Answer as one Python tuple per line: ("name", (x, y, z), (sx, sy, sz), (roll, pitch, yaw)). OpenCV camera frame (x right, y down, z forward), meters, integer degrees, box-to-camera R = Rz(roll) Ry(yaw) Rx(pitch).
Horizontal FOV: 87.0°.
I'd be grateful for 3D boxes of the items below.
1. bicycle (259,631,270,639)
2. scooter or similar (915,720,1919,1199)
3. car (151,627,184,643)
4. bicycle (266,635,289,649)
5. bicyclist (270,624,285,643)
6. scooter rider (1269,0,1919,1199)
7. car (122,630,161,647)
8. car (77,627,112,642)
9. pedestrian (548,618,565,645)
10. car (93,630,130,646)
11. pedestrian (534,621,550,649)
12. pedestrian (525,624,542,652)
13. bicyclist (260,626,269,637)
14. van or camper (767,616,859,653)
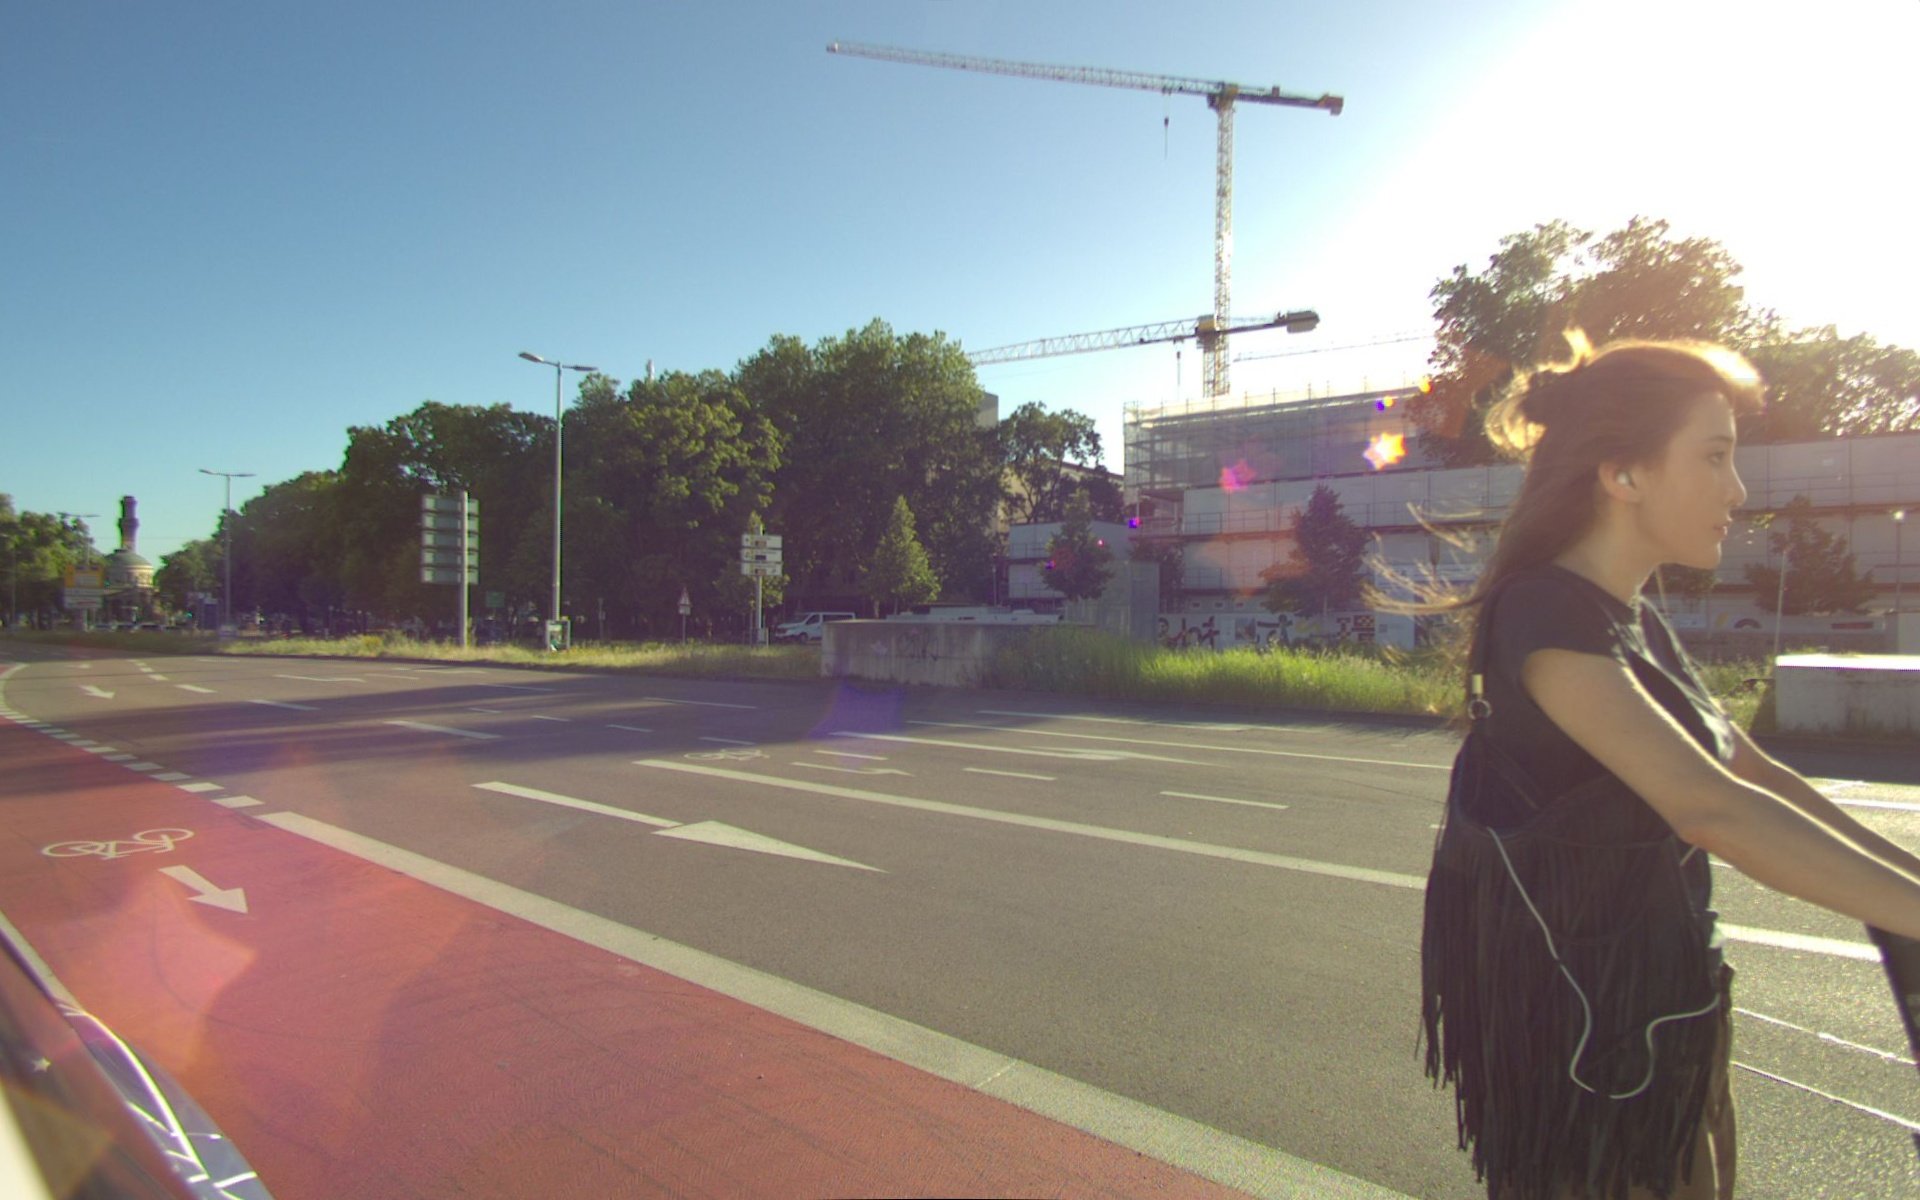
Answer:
("bicycle", (-76.544, 3.867, 111.376), (0.600, 0.849, 1.751), (1, -2, -19))
("scooter or similar", (0.805, 0.809, 1.018), (1.664, 1.211, 0.721), (-1, -1, 41))
("car", (-78.837, 3.462, 100.696), (4.000, 1.519, 1.972), (-1, -2, 43))
("bicycle", (-49.121, 3.021, 72.858), (2.239, 1.030, 0.631), (-1, -2, 36))
("bicyclist", (-49.157, 2.406, 72.886), (0.884, 1.292, 0.631), (-1, -2, 36))
("scooter rider", (0.845, 0.393, 0.973), (0.811, 1.788, 0.721), (-1, -1, 41))
("car", (-70.009, 3.308, 86.529), (3.996, 1.409, 1.849), (-1, -2, 40))
("car", (-84.043, 3.338, 98.242), (3.995, 1.409, 1.849), (-1, -2, 39))
("pedestrian", (-26.164, 2.049, 65.613), (0.762, 1.738, 0.698), (-2, -2, 41))
("car", (-76.461, 3.390, 91.221), (3.996, 1.409, 1.849), (-1, -2, 40))
("pedestrian", (-26.946, 2.247, 65.179), (0.762, 1.738, 0.656), (-2, -2, 41))
("pedestrian", (-27.233, 2.409, 64.639), (0.762, 1.738, 0.698), (-2, -2, 41))
("bicyclist", (-76.542, 3.463, 111.387), (0.600, 1.291, 0.717), (1, -2, -19))
("van or camper", (-8.933, 2.055, 61.938), (1.948, 2.029, 5.576), (-1, 0, 42))
